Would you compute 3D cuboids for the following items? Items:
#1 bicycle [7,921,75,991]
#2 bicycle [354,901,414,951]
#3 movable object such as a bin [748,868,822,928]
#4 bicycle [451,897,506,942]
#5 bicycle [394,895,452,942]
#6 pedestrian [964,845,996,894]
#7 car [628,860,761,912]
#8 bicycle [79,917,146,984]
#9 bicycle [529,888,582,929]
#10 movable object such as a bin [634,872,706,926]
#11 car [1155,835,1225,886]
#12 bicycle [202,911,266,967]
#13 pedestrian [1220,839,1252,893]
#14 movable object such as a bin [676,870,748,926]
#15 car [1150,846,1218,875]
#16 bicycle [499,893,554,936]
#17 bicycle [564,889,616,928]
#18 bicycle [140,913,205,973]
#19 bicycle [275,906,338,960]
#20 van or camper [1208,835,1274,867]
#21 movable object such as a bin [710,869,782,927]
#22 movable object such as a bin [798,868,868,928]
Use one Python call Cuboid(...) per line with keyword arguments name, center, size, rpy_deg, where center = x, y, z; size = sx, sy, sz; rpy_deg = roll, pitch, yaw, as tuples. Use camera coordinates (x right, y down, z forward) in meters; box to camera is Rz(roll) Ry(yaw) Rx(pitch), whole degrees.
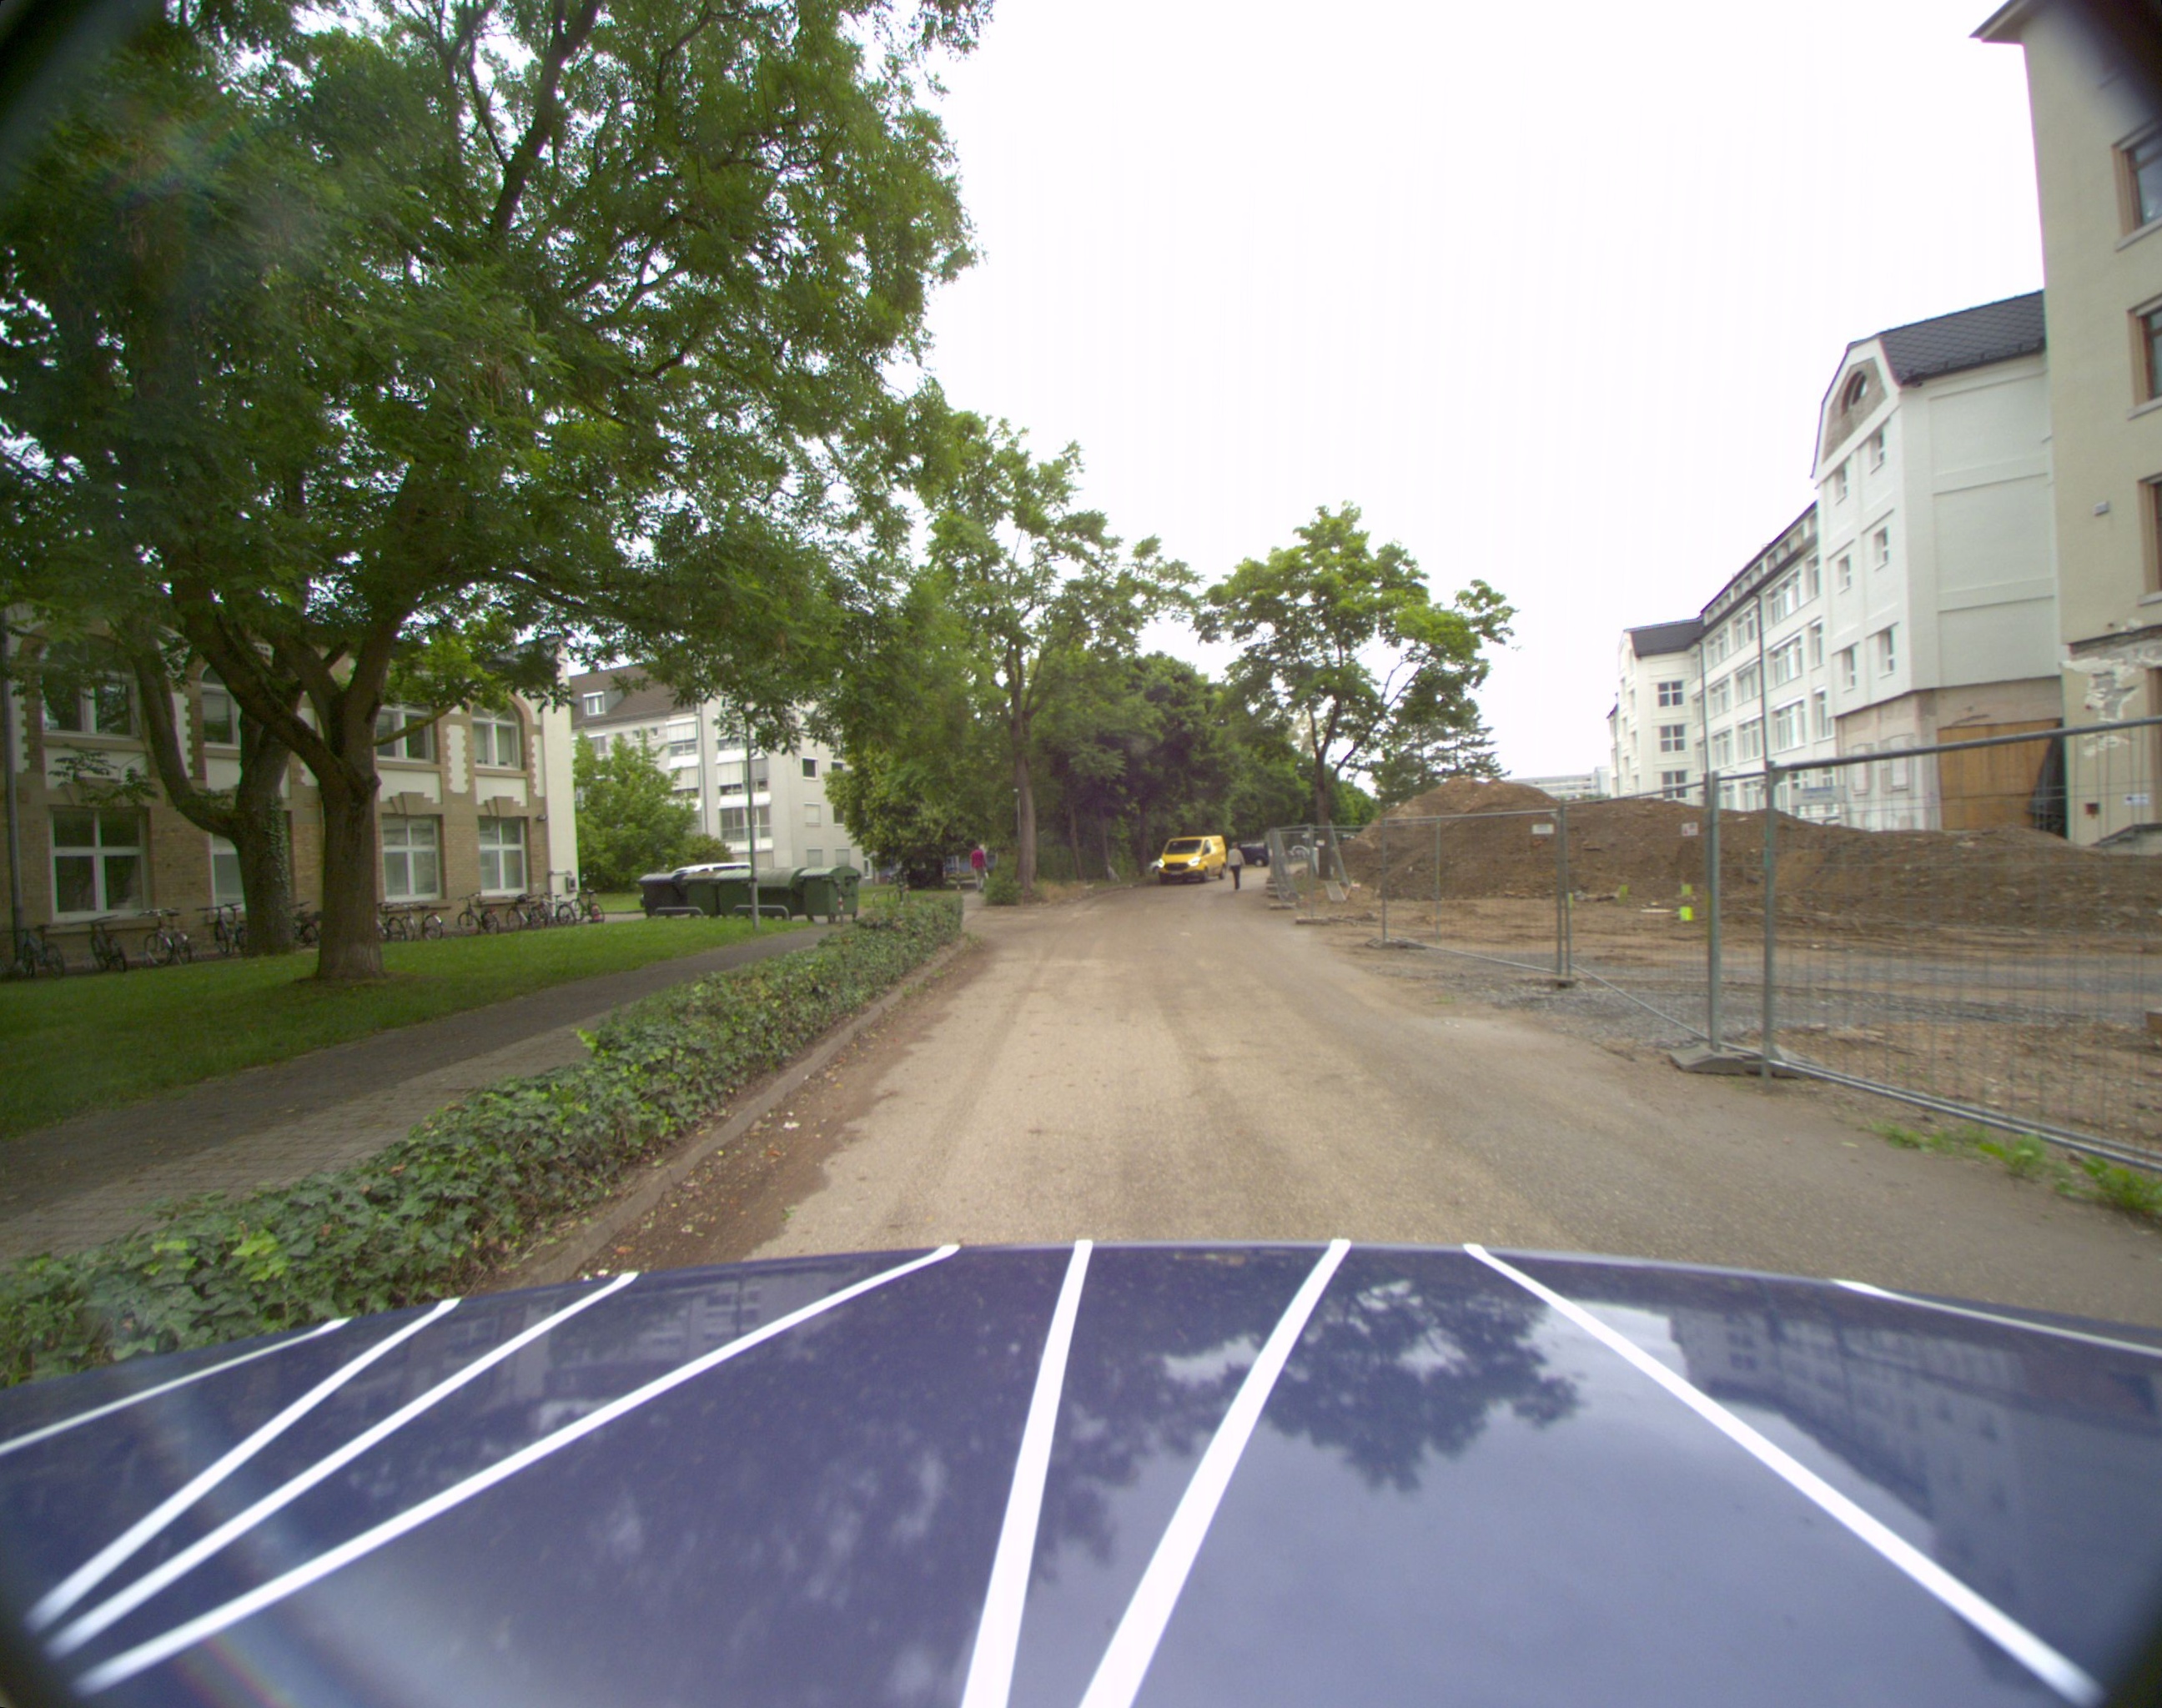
Cuboid(name="bicycle", center=(-18.724, 1.808, 13.672), size=(1.740, 1.108, 0.461), rpy_deg=(-1, 1, 28))
Cuboid(name="bicycle", center=(-16.619, 1.710, 18.112), size=(1.740, 1.108, 0.461), rpy_deg=(-2, 1, 28))
Cuboid(name="movable object such as a bin", center=(-7.645, 1.131, 19.645), size=(1.283, 1.442, 1.110), rpy_deg=(-3, 1, 24))
Cuboid(name="bicycle", center=(-15.722, 1.686, 19.814), size=(1.740, 1.108, 0.461), rpy_deg=(-2, 1, 30))
Cuboid(name="bicycle", center=(-16.294, 1.585, 18.807), size=(1.740, 1.108, 0.461), rpy_deg=(-2, 1, 28))
Cuboid(name="pedestrian", center=(-4.321, 0.663, 32.592), size=(0.793, 2.052, 1.203), rpy_deg=(-2, 1, 22))
Cuboid(name="car", center=(-16.549, 1.321, 32.850), size=(1.897, 1.862, 4.781), rpy_deg=(-5, -1, 28))
Cuboid(name="bicycle", center=(-18.382, 1.802, 14.413), size=(1.740, 1.108, 0.461), rpy_deg=(0, 2, 28))
Cuboid(name="bicycle", center=(-15.003, 1.564, 21.694), size=(1.740, 1.108, 0.461), rpy_deg=(-2, 1, 28))
Cuboid(name="movable object such as a bin", center=(-11.697, 1.270, 21.653), size=(1.359, 1.442, 1.110), rpy_deg=(-3, 1, 21))
Cuboid(name="car", center=(4.806, 0.234, 32.999), size=(2.121, 2.002, 4.005), rpy_deg=(-2, 0, 20))
Cuboid(name="bicycle", center=(-17.735, 1.759, 15.902), size=(1.740, 1.108, 0.461), rpy_deg=(-2, 1, 28))
Cuboid(name="pedestrian", center=(5.241, 0.407, 25.666), size=(0.752, 1.771, 0.662), rpy_deg=(-3, 1, -24))
Cuboid(name="movable object such as a bin", center=(-10.232, 1.213, 21.091), size=(1.324, 1.442, 1.110), rpy_deg=(-3, 1, 22))
Cuboid(name="car", center=(6.347, 0.385, 46.715), size=(3.879, 1.565, 1.754), rpy_deg=(-2, 1, 15))
Cuboid(name="bicycle", center=(-15.291, 1.663, 20.935), size=(1.740, 1.108, 0.461), rpy_deg=(-2, 1, 28))
Cuboid(name="bicycle", center=(-14.577, 1.614, 22.534), size=(1.740, 1.108, 0.461), rpy_deg=(-2, 1, 28))
Cuboid(name="bicycle", center=(-18.090, 1.748, 15.121), size=(1.740, 1.108, 0.461), rpy_deg=(-2, 1, 28))
Cuboid(name="bicycle", center=(-17.160, 1.720, 16.827), size=(1.740, 1.108, 0.461), rpy_deg=(-2, 1, 28))
Cuboid(name="van or camper", center=(12.189, -0.256, 58.061), size=(4.490, 2.245, 2.003), rpy_deg=(-2, 1, 27))
Cuboid(name="movable object such as a bin", center=(-8.991, 1.173, 20.430), size=(1.291, 1.442, 1.110), rpy_deg=(-3, 1, 22))
Cuboid(name="movable object such as a bin", center=(-6.242, 1.089, 19.125), size=(1.272, 1.426, 1.074), rpy_deg=(-2, 1, 36))
